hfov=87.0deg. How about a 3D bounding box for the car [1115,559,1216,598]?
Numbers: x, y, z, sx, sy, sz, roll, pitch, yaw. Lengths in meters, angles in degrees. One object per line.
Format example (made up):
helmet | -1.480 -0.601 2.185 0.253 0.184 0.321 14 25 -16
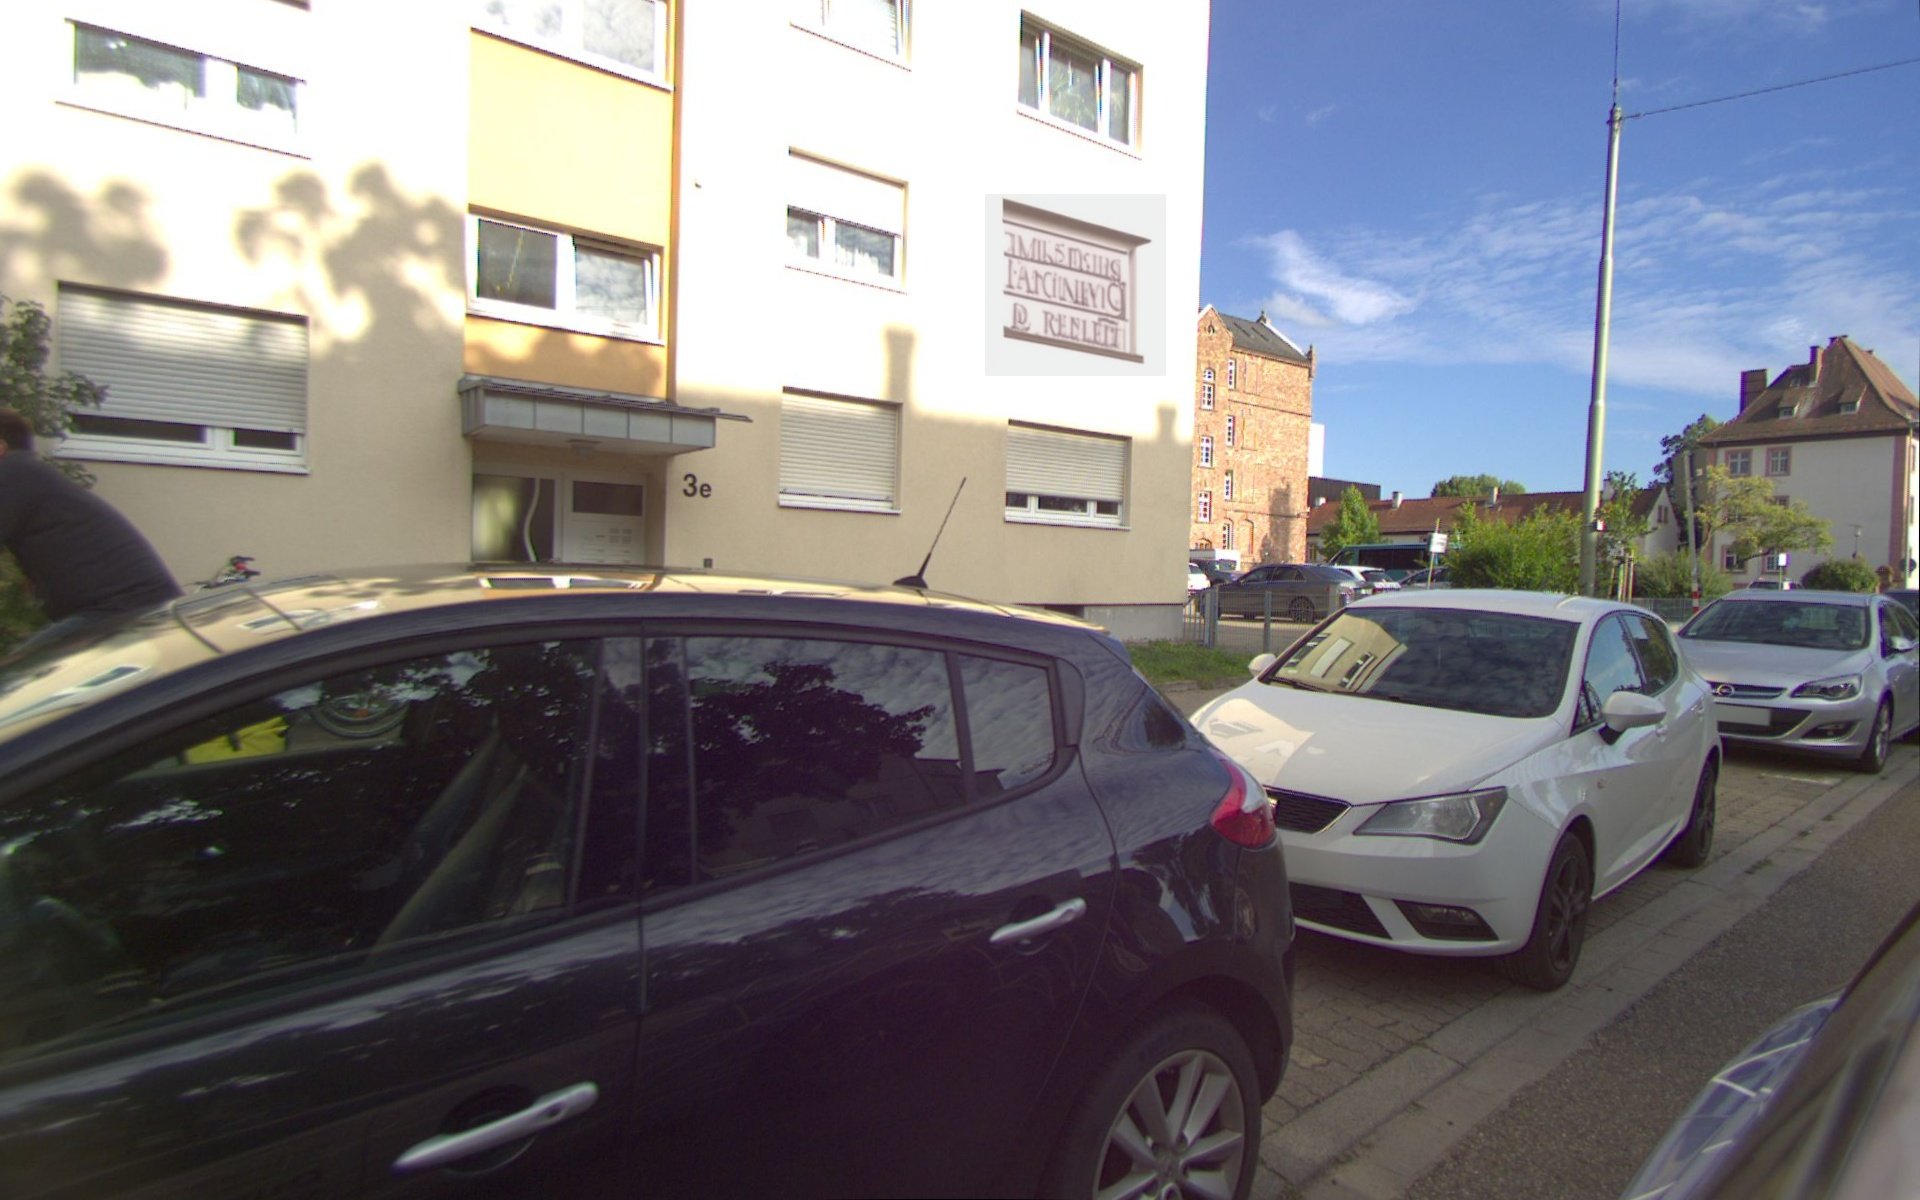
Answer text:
car | 8.589 -0.918 42.565 1.834 1.522 4.094 0 1 -32

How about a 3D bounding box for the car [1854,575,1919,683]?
car | 16.417 0.479 16.844 3.900 1.621 1.678 0 4 -40

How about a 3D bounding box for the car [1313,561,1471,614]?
car | 12.975 -0.410 30.618 1.833 1.500 4.095 0 1 -30

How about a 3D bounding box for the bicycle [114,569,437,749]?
bicycle | -4.387 0.316 6.566 1.663 1.010 0.597 -2 2 -40

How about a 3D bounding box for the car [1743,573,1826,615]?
car | 35.856 -0.245 44.002 4.015 1.741 1.890 1 1 -37

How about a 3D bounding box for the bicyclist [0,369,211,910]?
bicyclist | -3.144 0.117 3.473 0.877 1.699 0.624 0 1 -41

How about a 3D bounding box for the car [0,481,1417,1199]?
car | -1.089 0.579 1.818 4.128 1.453 1.689 0 2 -37

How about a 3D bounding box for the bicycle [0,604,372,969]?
bicycle | -3.162 0.599 3.492 1.895 1.149 0.524 0 1 -41

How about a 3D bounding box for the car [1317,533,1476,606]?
car | 14.377 -0.995 33.557 2.320 2.219 4.286 0 1 -32

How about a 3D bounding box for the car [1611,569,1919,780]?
car | 8.111 0.539 9.721 4.250 1.542 1.769 0 4 -38

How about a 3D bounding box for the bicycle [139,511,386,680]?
bicycle | -5.508 -0.069 8.054 1.563 1.230 0.523 -2 4 -40

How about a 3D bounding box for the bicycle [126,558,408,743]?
bicycle | -4.763 0.293 7.026 1.563 1.150 0.446 -2 4 -40

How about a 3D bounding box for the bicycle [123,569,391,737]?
bicycle | -5.130 0.336 7.449 1.563 1.087 0.523 -2 4 -40

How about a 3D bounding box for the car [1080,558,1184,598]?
car | 6.820 -0.901 40.424 1.834 1.500 4.094 0 1 -32

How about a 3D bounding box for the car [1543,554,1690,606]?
car | 22.480 -0.689 34.797 1.834 1.679 3.802 0 1 -32

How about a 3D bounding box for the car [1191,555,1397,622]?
car | 8.115 -0.319 25.025 1.834 1.500 4.683 0 1 -34

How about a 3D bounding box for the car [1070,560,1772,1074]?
car | 2.554 0.612 5.015 4.135 1.486 1.686 0 3 -43

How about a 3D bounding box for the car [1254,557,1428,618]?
car | 10.074 -0.358 27.058 1.833 1.500 4.095 0 1 -30
